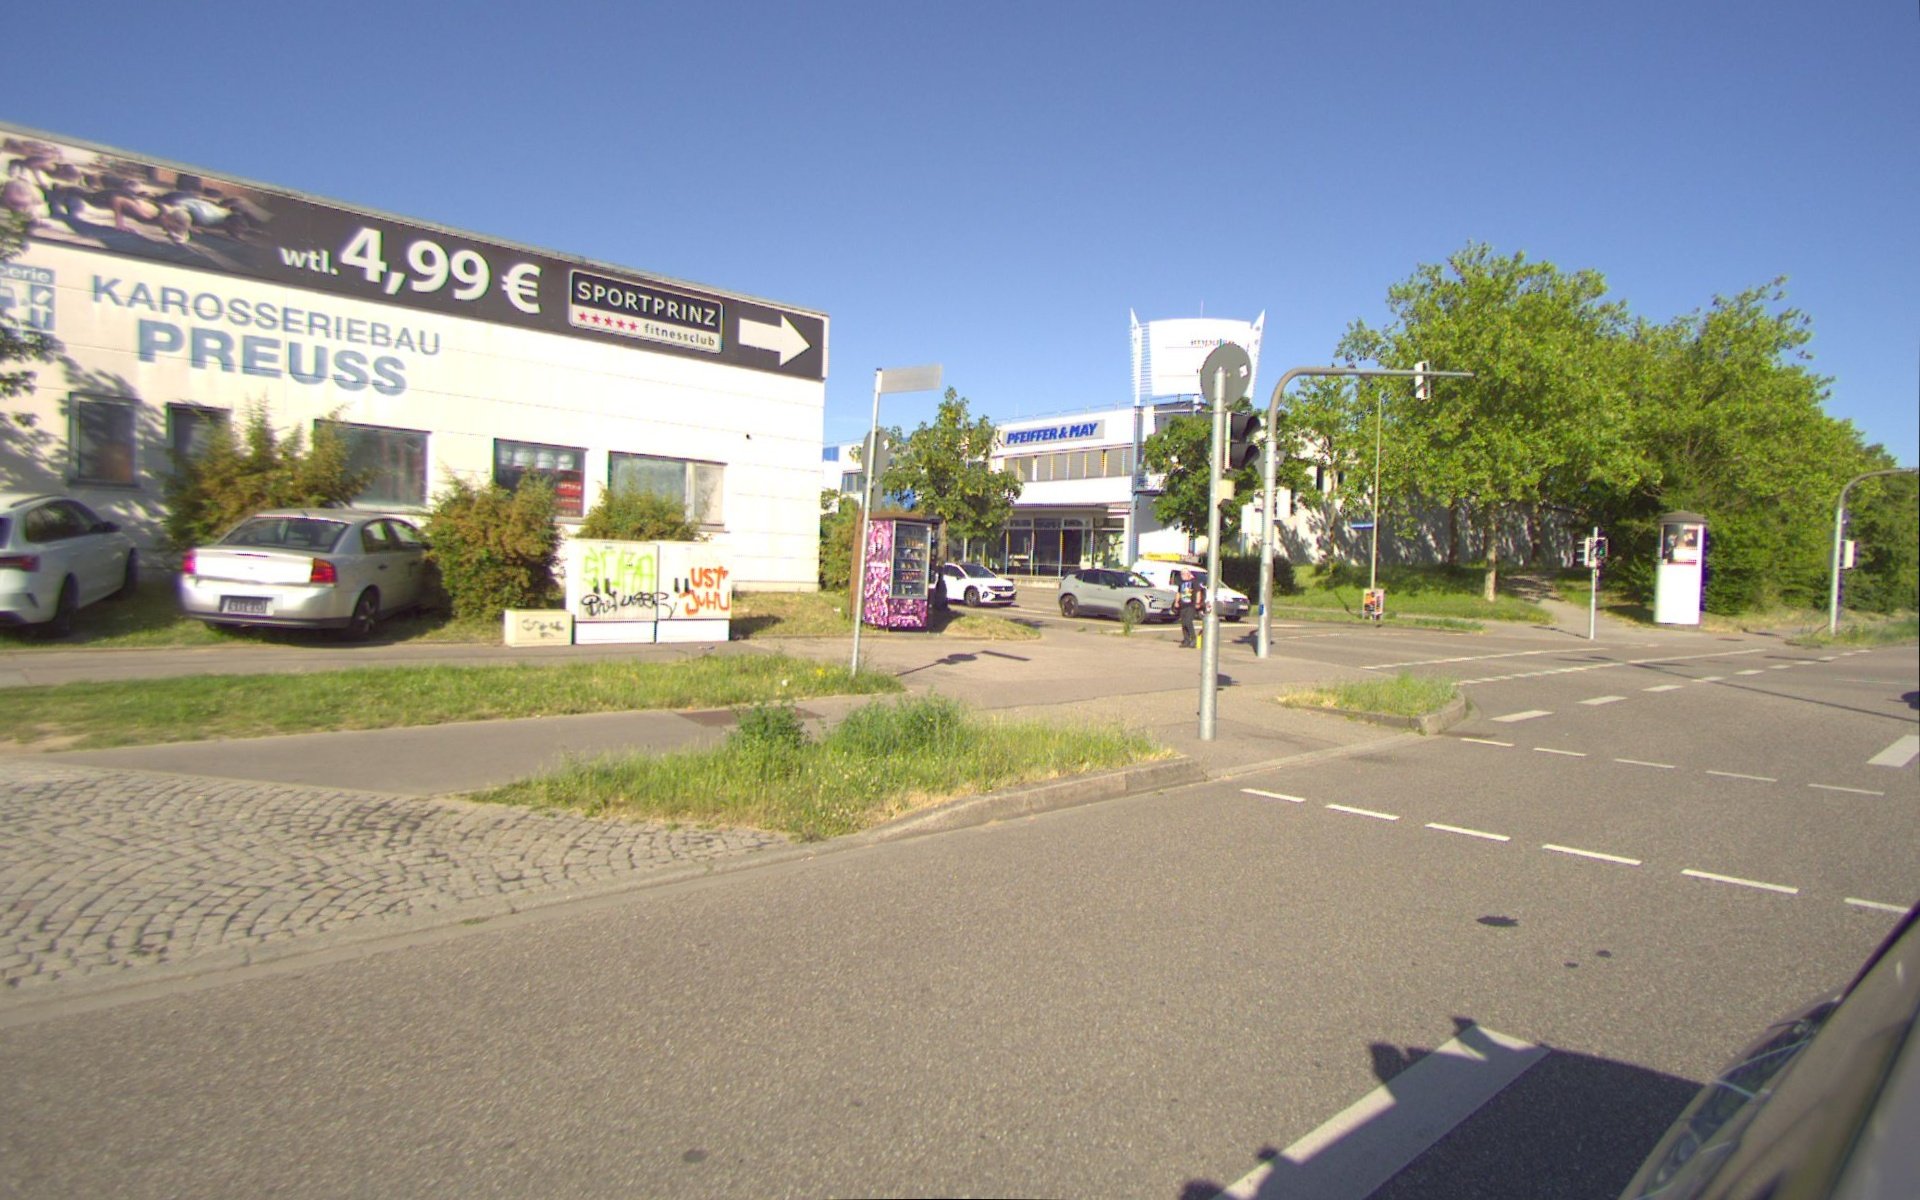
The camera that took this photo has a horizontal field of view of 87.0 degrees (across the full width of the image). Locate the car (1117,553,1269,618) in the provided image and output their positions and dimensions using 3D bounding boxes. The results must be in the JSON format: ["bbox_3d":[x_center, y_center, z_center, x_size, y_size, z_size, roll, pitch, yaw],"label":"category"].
[{"bbox_3d":[7.517,-0.539,33.091,1.839,1.958,4.692,0,2,-39],"label":"car"}]

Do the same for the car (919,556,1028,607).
[{"bbox_3d":[0.438,-0.713,36.238,1.776,1.608,3.929,-2,4,-39],"label":"car"}]

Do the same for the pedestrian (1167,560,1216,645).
[{"bbox_3d":[4.882,0.037,21.361,0.607,1.737,0.759,0,2,-40],"label":"pedestrian"}]

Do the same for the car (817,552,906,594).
[{"bbox_3d":[-4.121,-1.156,41.731,1.776,1.608,3.929,-2,4,-39],"label":"car"}]

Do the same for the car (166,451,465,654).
[{"bbox_3d":[-7.899,-0.776,12.858,1.652,2.035,4.013,5,7,-9],"label":"car"}]

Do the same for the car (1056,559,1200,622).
[{"bbox_3d":[5.021,-0.348,30.702,1.868,1.665,4.101,-2,4,-39],"label":"car"}]

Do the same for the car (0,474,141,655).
[{"bbox_3d":[-10.673,-0.516,11.208,1.689,1.468,3.945,1,8,-27],"label":"car"}]
